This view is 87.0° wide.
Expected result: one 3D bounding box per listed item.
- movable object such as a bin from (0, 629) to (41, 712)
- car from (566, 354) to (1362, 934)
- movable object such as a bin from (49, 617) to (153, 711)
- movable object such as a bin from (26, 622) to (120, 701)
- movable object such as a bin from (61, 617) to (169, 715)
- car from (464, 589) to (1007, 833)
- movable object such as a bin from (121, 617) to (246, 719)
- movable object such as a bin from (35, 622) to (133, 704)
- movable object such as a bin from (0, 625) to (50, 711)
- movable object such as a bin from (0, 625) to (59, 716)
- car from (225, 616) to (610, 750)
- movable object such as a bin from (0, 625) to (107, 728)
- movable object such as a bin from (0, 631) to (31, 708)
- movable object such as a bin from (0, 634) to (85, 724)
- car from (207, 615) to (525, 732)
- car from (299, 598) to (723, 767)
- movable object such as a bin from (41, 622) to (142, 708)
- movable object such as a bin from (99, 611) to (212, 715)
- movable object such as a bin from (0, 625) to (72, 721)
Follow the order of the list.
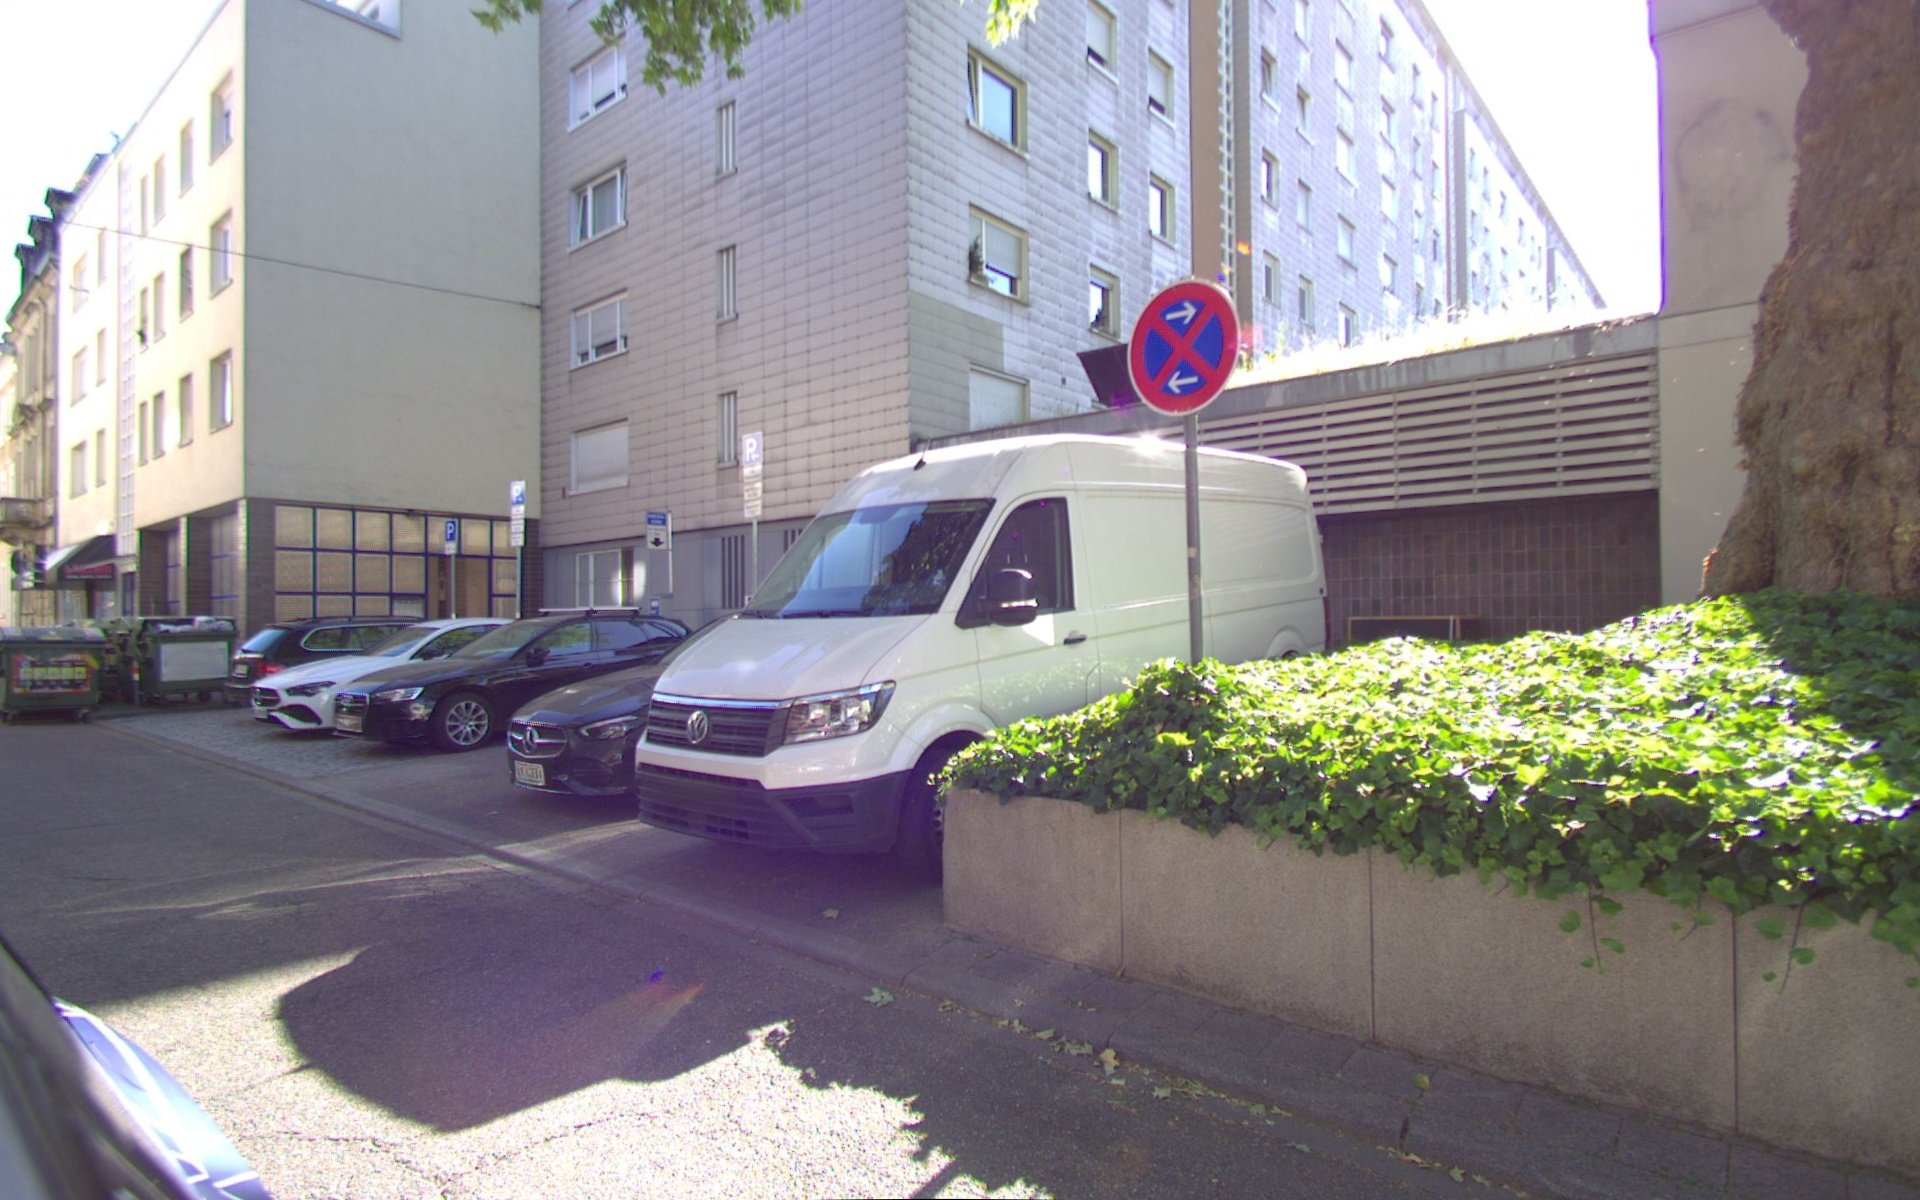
[{"bbox_3d":[-18.006,1.290,18.718,1.093,1.495,1.320,-1,-3,40],"label":"movable object such as a bin"},{"bbox_3d":[0.741,0.074,7.711,2.145,2.574,6.669,-1,2,42],"label":"car"},{"bbox_3d":[-15.595,1.123,18.383,1.017,1.633,1.281,-1,-1,40],"label":"movable object such as a bin"},{"bbox_3d":[-18.003,1.216,20.546,1.178,1.509,1.283,-1,-1,40],"label":"movable object such as a bin"},{"bbox_3d":[-14.775,1.118,17.706,1.081,1.616,1.275,-1,-1,40],"label":"movable object such as a bin"},{"bbox_3d":[-1.735,0.747,9.087,1.928,1.481,4.453,-2,1,41],"label":"car"},{"bbox_3d":[-12.635,1.068,16.486,1.118,1.561,1.341,-1,-1,34],"label":"movable object such as a bin"},{"bbox_3d":[-17.127,1.200,19.789,1.156,1.510,1.292,-1,-1,40],"label":"movable object such as a bin"},{"bbox_3d":[-17.207,1.199,18.048,1.002,1.498,1.335,-1,-1,40],"label":"movable object such as a bin"},{"bbox_3d":[-16.431,1.189,17.362,1.017,1.510,1.330,-1,-1,40],"label":"movable object such as a bin"},{"bbox_3d":[-7.328,1.001,14.041,1.955,1.436,4.299,-1,0,39],"label":"car"},{"bbox_3d":[-13.893,1.118,15.323,1.115,1.462,1.288,-1,-1,37],"label":"movable object such as a bin"},{"bbox_3d":[-18.896,1.329,19.481,1.186,1.461,1.306,-1,-3,40],"label":"movable object such as a bin"},{"bbox_3d":[-14.747,1.223,16.011,1.045,1.332,1.228,-1,-1,40],"label":"movable object such as a bin"},{"bbox_3d":[-8.971,1.007,15.526,1.825,1.516,3.837,-1,-1,39],"label":"car"},{"bbox_3d":[-5.309,0.837,12.520,1.913,1.622,4.424,-1,0,37],"label":"car"},{"bbox_3d":[-16.340,1.188,19.052,1.017,1.534,1.289,-1,-1,40],"label":"movable object such as a bin"},{"bbox_3d":[-13.605,1.030,17.133,1.171,1.665,1.217,-1,-1,34],"label":"movable object such as a bin"},{"bbox_3d":[-15.607,1.183,16.683,1.081,1.502,1.321,-1,-1,40],"label":"movable object such as a bin"}]
